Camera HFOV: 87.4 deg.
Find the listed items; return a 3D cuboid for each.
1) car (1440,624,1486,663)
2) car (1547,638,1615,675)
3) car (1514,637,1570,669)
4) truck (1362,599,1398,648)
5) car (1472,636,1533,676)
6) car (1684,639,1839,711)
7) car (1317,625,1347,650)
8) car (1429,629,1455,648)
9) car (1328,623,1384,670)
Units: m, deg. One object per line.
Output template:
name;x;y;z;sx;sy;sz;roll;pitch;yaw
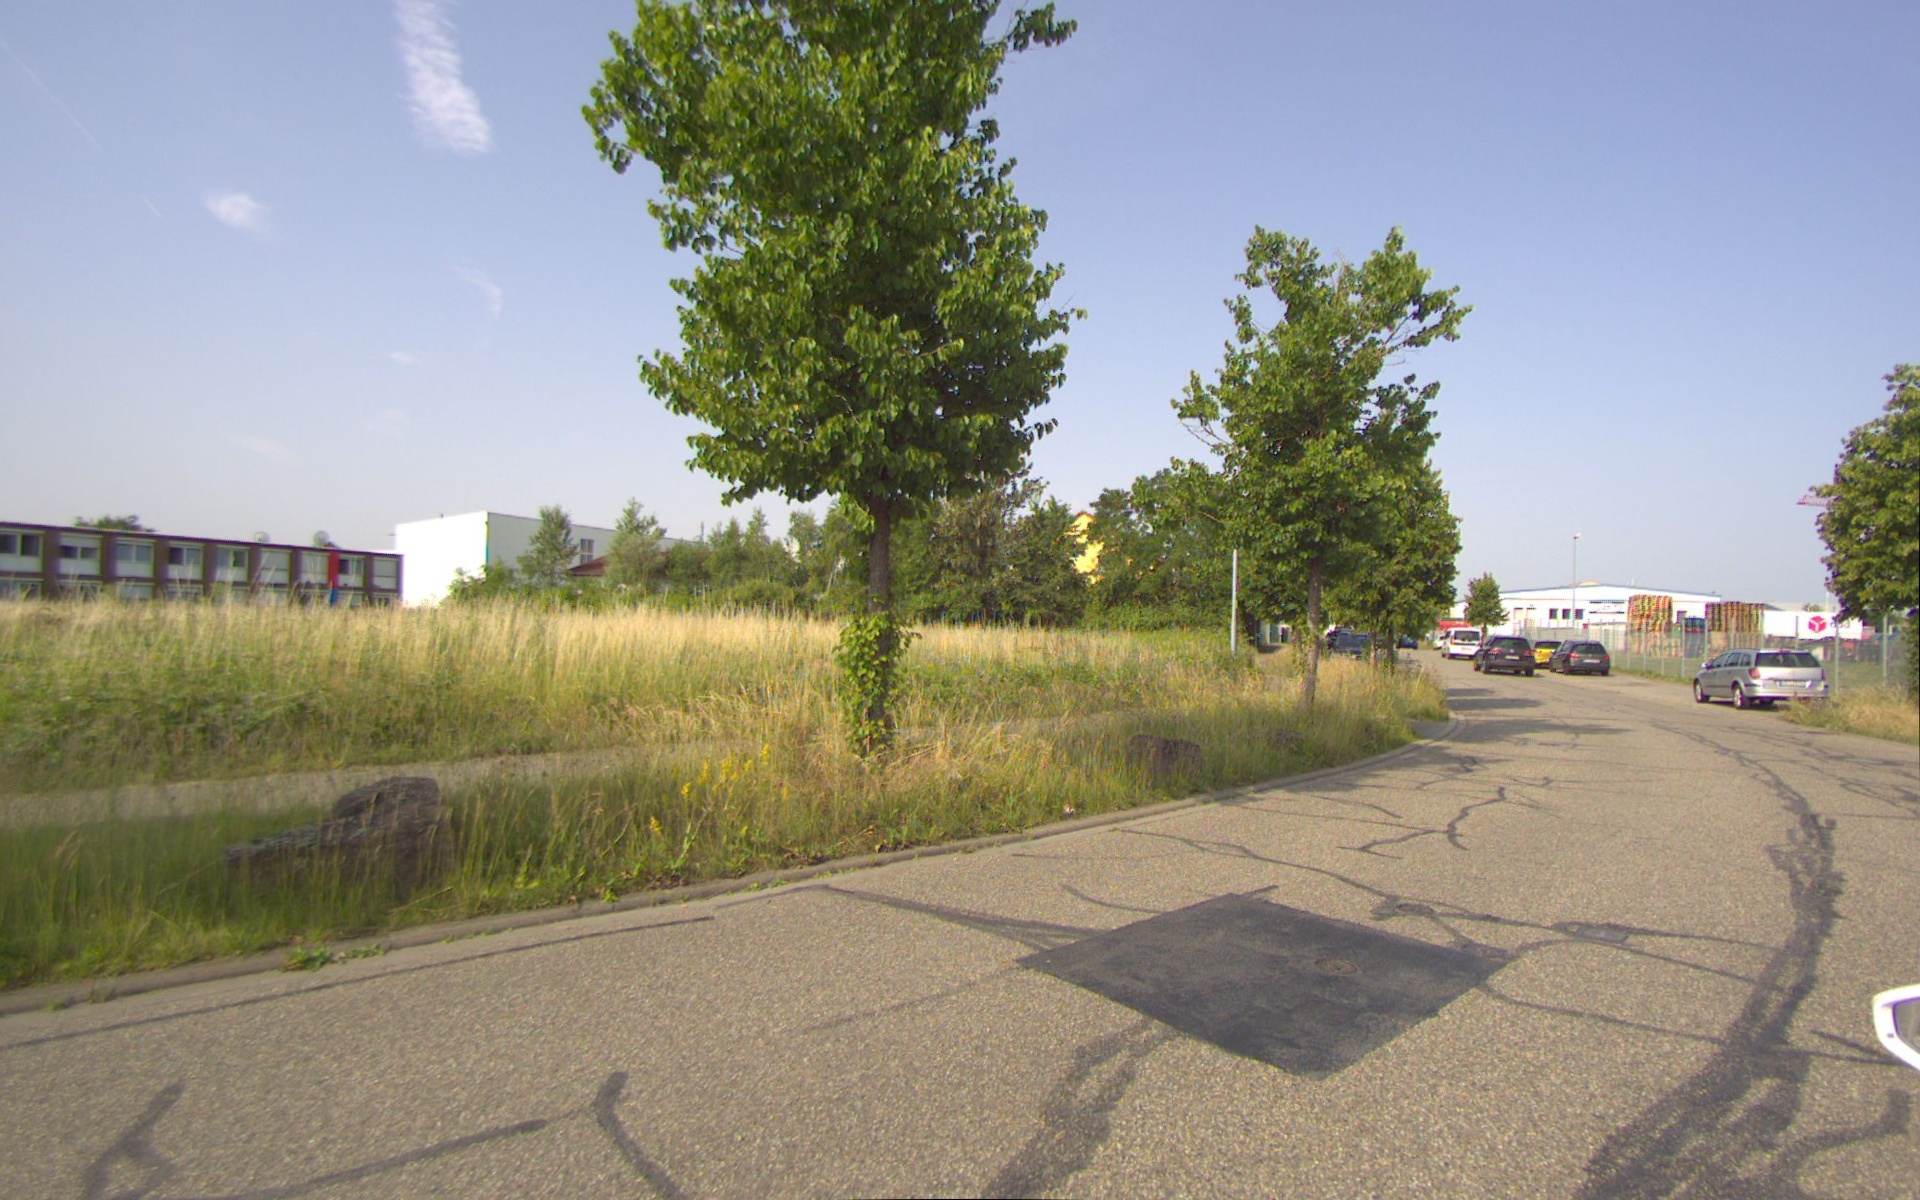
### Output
car;29.768;2.545;59.585;2.087;2.138;4.623;2;-1;23
car;27.648;2.469;44.845;1.686;1.535;4.005;0;-1;18
car;29.146;2.635;50.421;1.686;1.474;4.188;0;-2;19
truck;38.191;2.165;91.573;2.457;4.200;10.380;0;-1;20
car;23.655;2.403;43.912;1.850;1.607;4.113;2;-1;22
car;20.521;1.849;25.945;1.769;1.647;4.449;0;-2;20
car;25.188;2.506;67.942;1.803;1.516;4.049;3;0;21
car;44.894;3.562;93.546;1.686;1.702;3.950;2;-1;19
car;15.846;1.831;40.284;1.872;1.647;4.449;3;0;21
